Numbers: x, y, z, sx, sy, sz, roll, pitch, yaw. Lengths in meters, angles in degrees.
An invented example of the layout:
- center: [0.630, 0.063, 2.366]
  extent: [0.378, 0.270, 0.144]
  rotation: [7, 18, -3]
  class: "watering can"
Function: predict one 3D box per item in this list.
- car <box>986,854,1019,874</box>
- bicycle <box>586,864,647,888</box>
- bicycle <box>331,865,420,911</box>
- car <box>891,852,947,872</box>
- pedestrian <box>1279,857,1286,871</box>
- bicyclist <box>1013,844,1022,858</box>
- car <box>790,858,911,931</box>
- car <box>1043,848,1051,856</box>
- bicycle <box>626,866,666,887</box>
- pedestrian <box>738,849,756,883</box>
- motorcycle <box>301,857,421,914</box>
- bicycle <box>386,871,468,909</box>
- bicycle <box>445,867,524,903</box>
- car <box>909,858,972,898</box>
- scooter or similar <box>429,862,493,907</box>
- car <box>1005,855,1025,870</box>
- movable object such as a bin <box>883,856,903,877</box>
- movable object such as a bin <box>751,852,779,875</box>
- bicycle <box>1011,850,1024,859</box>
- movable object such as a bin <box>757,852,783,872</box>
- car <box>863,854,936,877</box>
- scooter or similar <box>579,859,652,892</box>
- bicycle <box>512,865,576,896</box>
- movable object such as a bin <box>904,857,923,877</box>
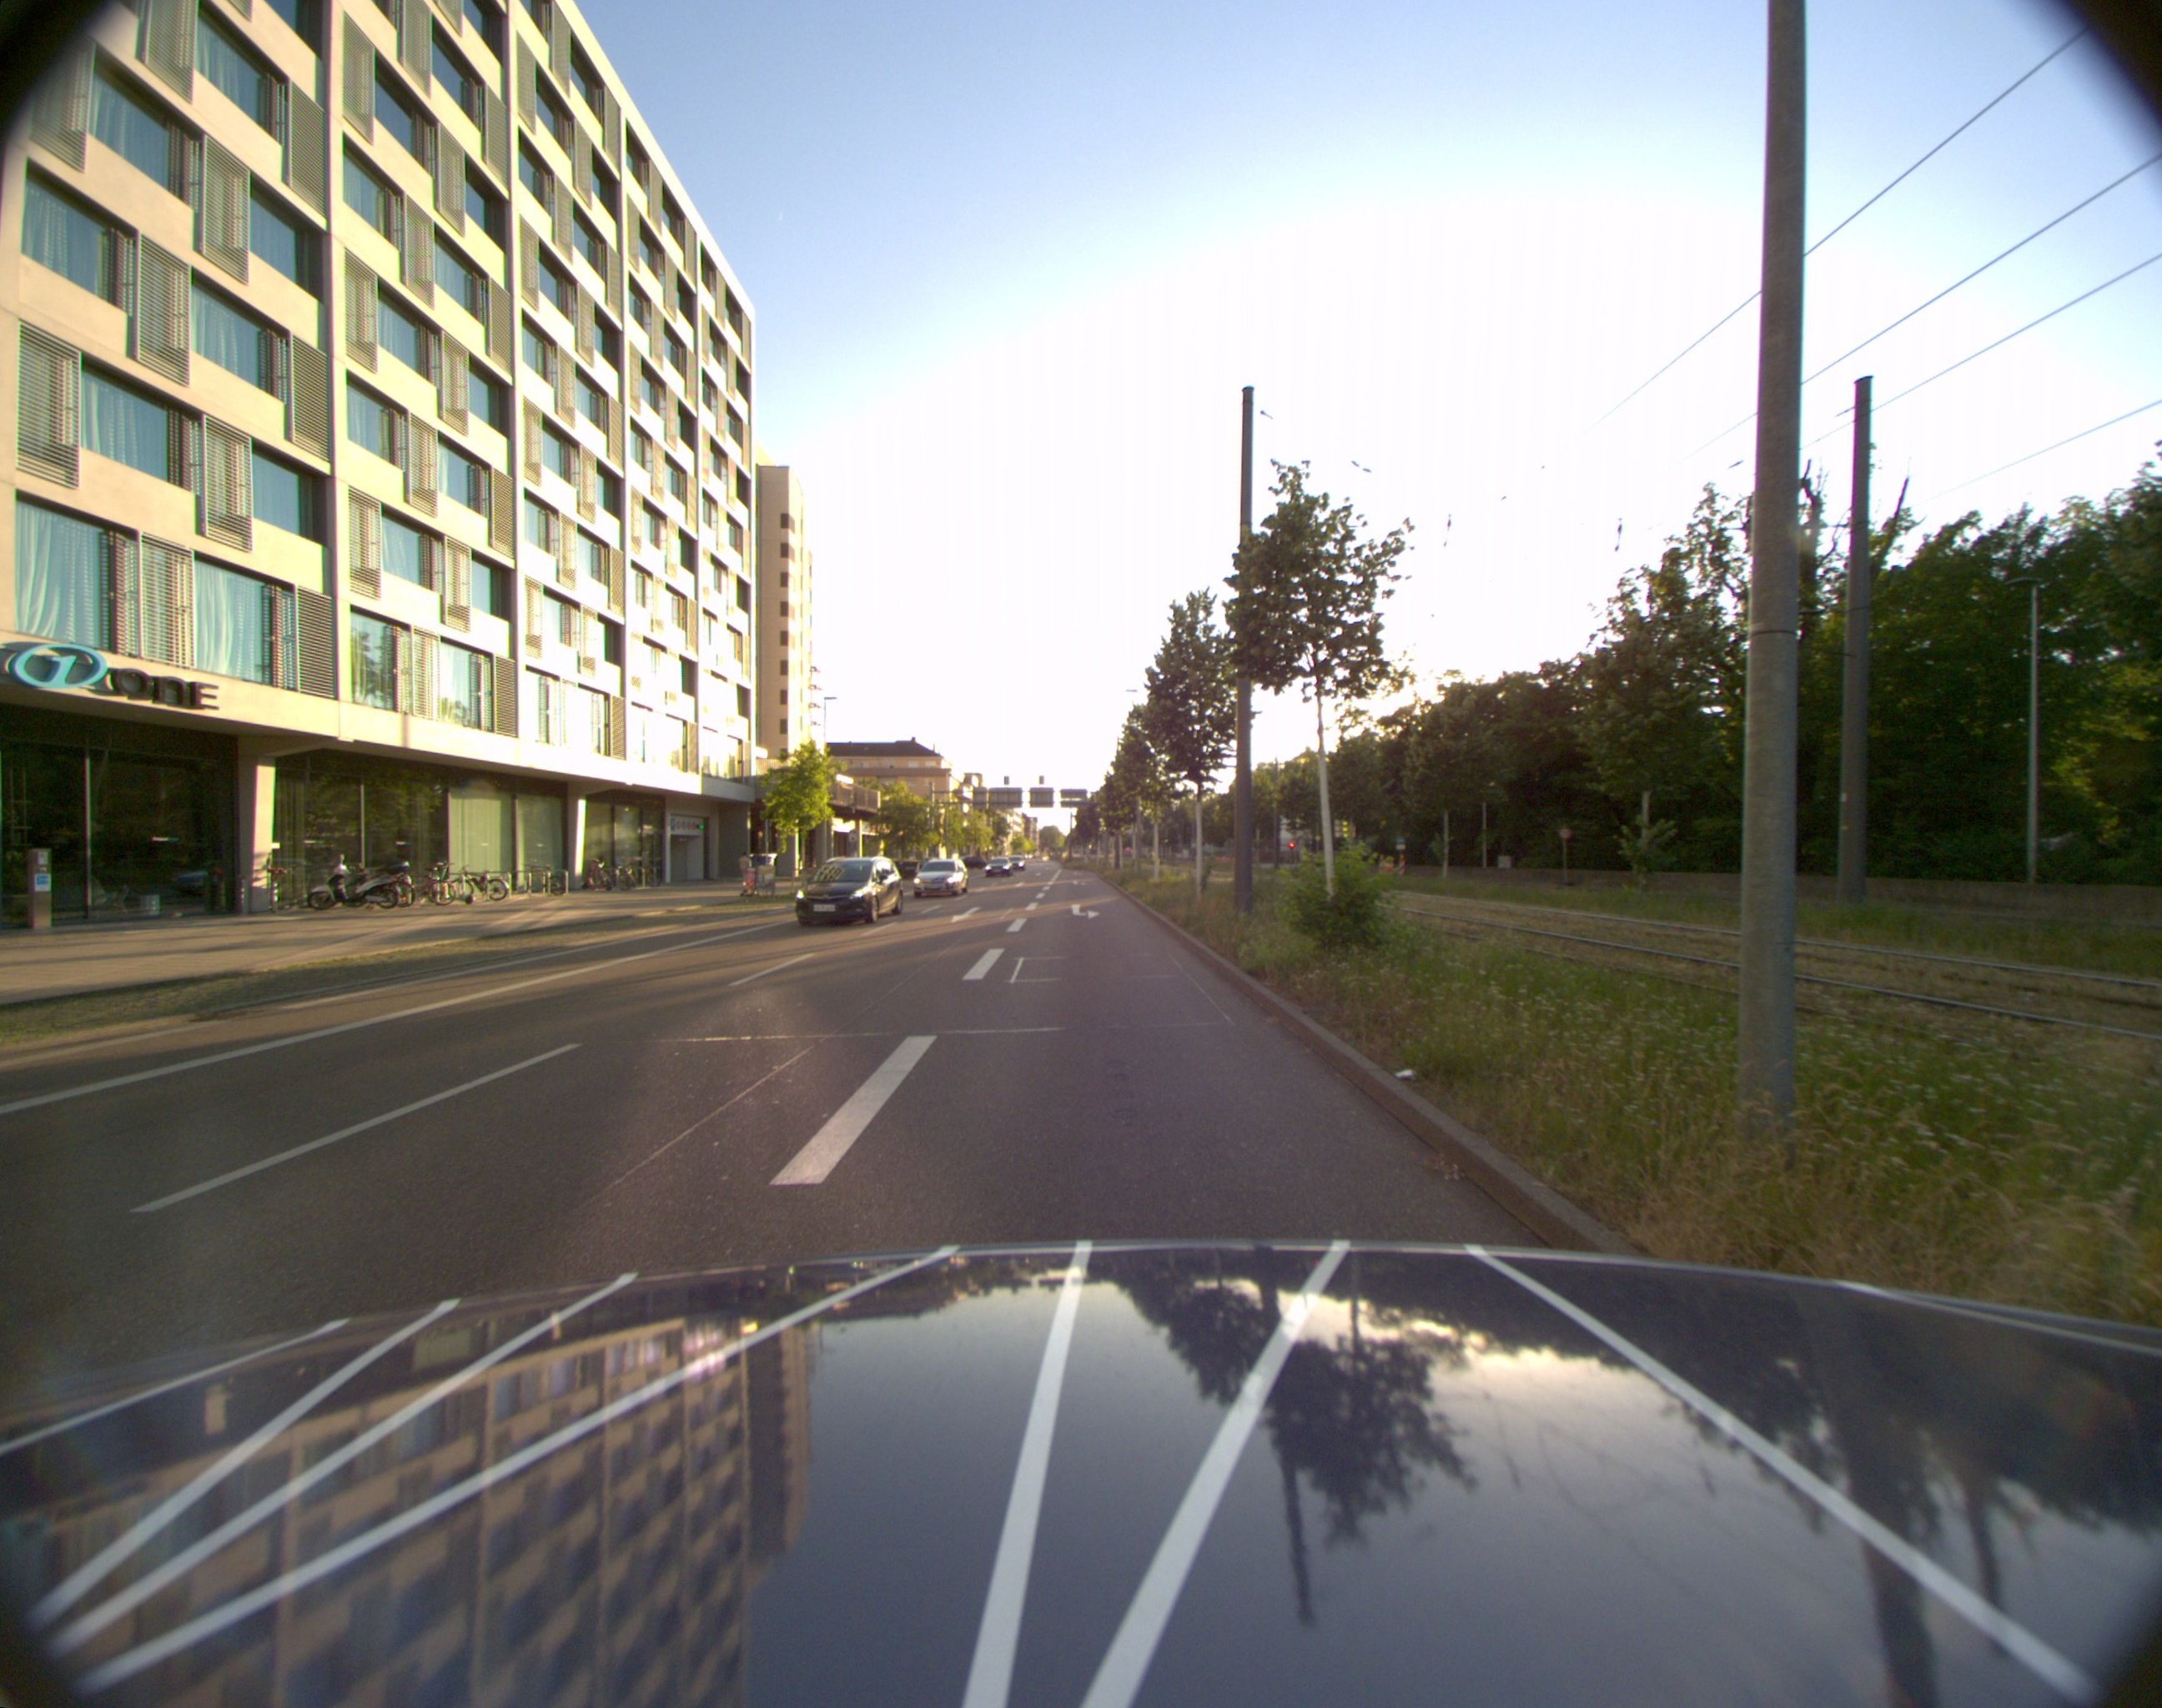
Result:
- center: [-5.893, 0.701, 57.413]
  extent: [1.915, 1.387, 4.277]
  rotation: [-2, 0, 1]
  class: "car"
- center: [-18.804, 0.894, 30.786]
  extent: [2.022, 0.952, 0.620]
  rotation: [1, 0, -7]
  class: "bicycle"
- center: [-18.531, 0.886, 19.991]
  extent: [1.612, 1.148, 0.611]
  rotation: [2, 0, -13]
  class: "bicycle"
- center: [-13.038, 0.649, 61.341]
  extent: [4.000, 1.408, 1.746]
  rotation: [2, 1, -39]
  class: "car"
- center: [22.972, 1.142, 86.559]
  extent: [0.670, 1.597, 0.678]
  rotation: [-2, -4, 13]
  class: "pedestrian"
- center: [-8.317, -0.393, 99.324]
  extent: [0.821, 1.682, 0.959]
  rotation: [1, 1, -29]
  class: "bicyclist"
- center: [-5.792, 0.939, 19.655]
  extent: [1.827, 1.589, 4.366]
  rotation: [-2, 0, -1]
  class: "car"
- center: [-8.625, -0.413, 191.182]
  extent: [1.727, 1.910, 4.292]
  rotation: [-2, 0, -5]
  class: "car"
- center: [-18.472, 0.944, 32.303]
  extent: [1.425, 0.886, 0.457]
  rotation: [0, 1, -1]
  class: "bicycle"
- center: [-16.109, 0.594, 36.622]
  extent: [0.578, 1.609, 0.643]
  rotation: [2, 0, -4]
  class: "pedestrian"
- center: [-18.208, 0.792, 19.270]
  extent: [2.120, 1.378, 0.671]
  rotation: [1, 0, -15]
  class: "motorcycle"
- center: [-18.095, 0.986, 21.043]
  extent: [1.704, 0.980, 0.550]
  rotation: [2, 0, -4]
  class: "bicycle"
- center: [-18.107, 0.941, 23.071]
  extent: [1.890, 1.004, 0.565]
  rotation: [2, 1, -3]
  class: "bicycle"
- center: [-5.684, 0.930, 31.164]
  extent: [1.833, 1.455, 4.302]
  rotation: [-2, 0, -1]
  class: "car"
- center: [-17.688, 0.861, 21.685]
  extent: [1.271, 1.226, 0.608]
  rotation: [2, 0, -5]
  class: "scooter or similar"
- center: [-6.470, 0.807, 74.553]
  extent: [1.863, 1.387, 4.275]
  rotation: [-2, 0, -4]
  class: "car"
- center: [-12.432, 0.843, 50.270]
  extent: [1.017, 1.339, 1.160]
  rotation: [2, 0, -6]
  class: "movable object such as a bin"
- center: [-18.777, 0.575, 45.137]
  extent: [1.108, 1.322, 1.283]
  rotation: [2, 0, -2]
  class: "movable object such as a bin"
- center: [-8.316, 0.066, 99.315]
  extent: [0.821, 1.166, 2.143]
  rotation: [1, 0, -29]
  class: "bicycle"
- center: [-20.231, 0.531, 49.449]
  extent: [1.185, 1.291, 1.304]
  rotation: [0, 0, -2]
  class: "movable object such as a bin"
- center: [-13.003, 0.814, 54.616]
  extent: [4.679, 1.499, 1.933]
  rotation: [2, 1, -40]
  class: "car"
- center: [-17.879, 0.820, 29.217]
  extent: [2.378, 1.176, 0.620]
  rotation: [1, 0, -1]
  class: "scooter or similar"
- center: [-18.200, 0.902, 25.769]
  extent: [1.704, 0.980, 0.550]
  rotation: [2, 0, -4]
  class: "bicycle"
- center: [-11.081, 0.859, 50.373]
  extent: [1.088, 1.294, 1.360]
  rotation: [2, 0, -7]
  class: "movable object such as a bin"
